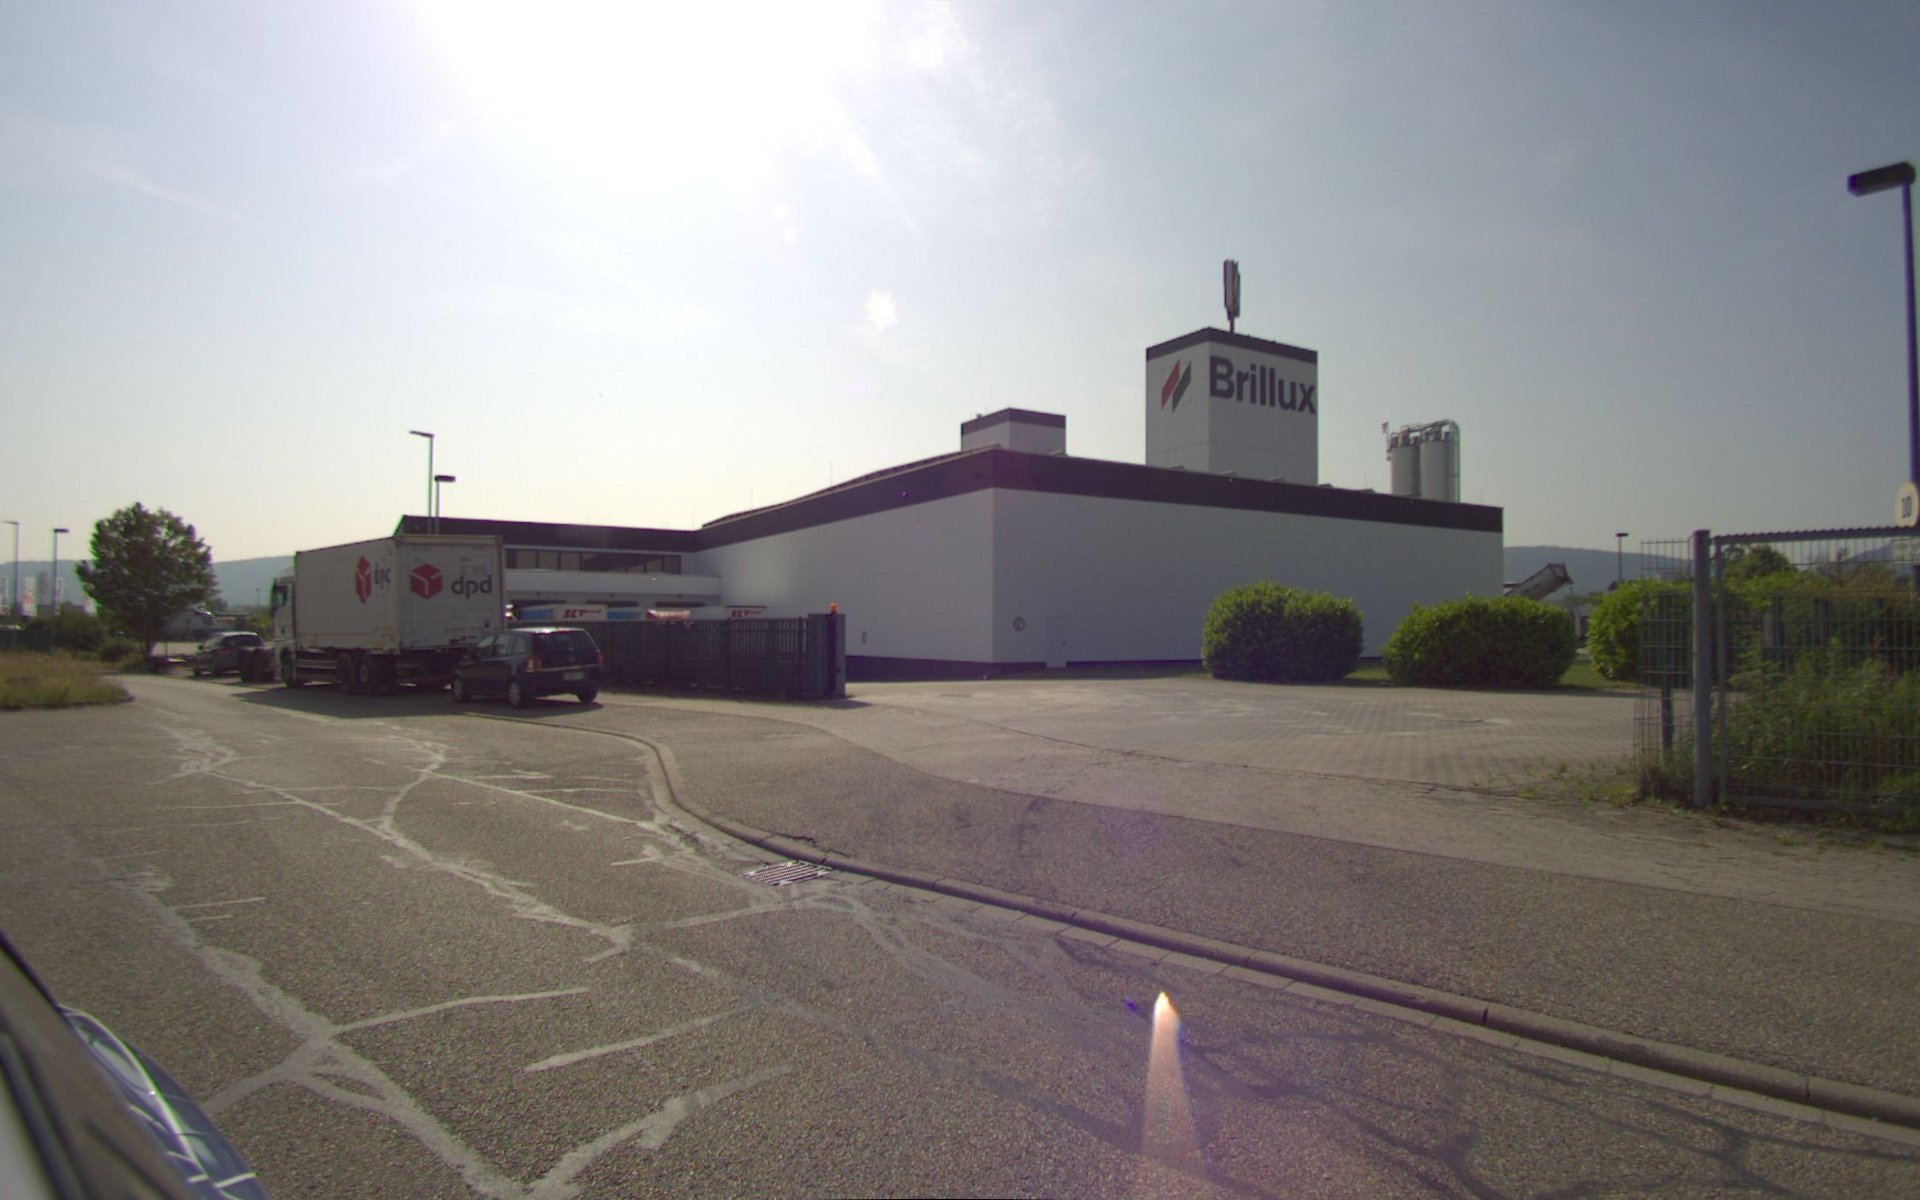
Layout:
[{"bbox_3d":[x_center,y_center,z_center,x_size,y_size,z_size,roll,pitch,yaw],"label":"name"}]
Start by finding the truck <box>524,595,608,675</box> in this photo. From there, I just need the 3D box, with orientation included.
[{"bbox_3d":[-22.588,2.005,57.668,2.989,4.168,9.266,2,-3,-30],"label":"truck"}]

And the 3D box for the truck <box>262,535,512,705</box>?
[{"bbox_3d":[-15.833,0.539,27.455,10.059,3.883,2.748,-2,0,42],"label":"truck"}]

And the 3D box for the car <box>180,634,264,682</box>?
[{"bbox_3d":[-27.241,2.103,37.309,3.965,1.594,1.712,-2,-1,41],"label":"car"}]

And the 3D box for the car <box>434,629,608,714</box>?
[{"bbox_3d":[-9.471,1.473,21.693,4.190,1.604,1.745,-2,-1,40],"label":"car"}]

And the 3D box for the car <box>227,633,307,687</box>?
[{"bbox_3d":[-22.626,1.927,33.005,3.166,1.619,1.423,-2,-1,41],"label":"car"}]

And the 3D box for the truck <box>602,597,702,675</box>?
[{"bbox_3d":[-18.069,2.087,58.607,2.743,4.076,12.390,2,-3,-30],"label":"truck"}]

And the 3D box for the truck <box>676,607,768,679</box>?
[{"bbox_3d":[-14.858,2.630,62.579,2.859,4.087,9.266,2,-3,-30],"label":"truck"}]
